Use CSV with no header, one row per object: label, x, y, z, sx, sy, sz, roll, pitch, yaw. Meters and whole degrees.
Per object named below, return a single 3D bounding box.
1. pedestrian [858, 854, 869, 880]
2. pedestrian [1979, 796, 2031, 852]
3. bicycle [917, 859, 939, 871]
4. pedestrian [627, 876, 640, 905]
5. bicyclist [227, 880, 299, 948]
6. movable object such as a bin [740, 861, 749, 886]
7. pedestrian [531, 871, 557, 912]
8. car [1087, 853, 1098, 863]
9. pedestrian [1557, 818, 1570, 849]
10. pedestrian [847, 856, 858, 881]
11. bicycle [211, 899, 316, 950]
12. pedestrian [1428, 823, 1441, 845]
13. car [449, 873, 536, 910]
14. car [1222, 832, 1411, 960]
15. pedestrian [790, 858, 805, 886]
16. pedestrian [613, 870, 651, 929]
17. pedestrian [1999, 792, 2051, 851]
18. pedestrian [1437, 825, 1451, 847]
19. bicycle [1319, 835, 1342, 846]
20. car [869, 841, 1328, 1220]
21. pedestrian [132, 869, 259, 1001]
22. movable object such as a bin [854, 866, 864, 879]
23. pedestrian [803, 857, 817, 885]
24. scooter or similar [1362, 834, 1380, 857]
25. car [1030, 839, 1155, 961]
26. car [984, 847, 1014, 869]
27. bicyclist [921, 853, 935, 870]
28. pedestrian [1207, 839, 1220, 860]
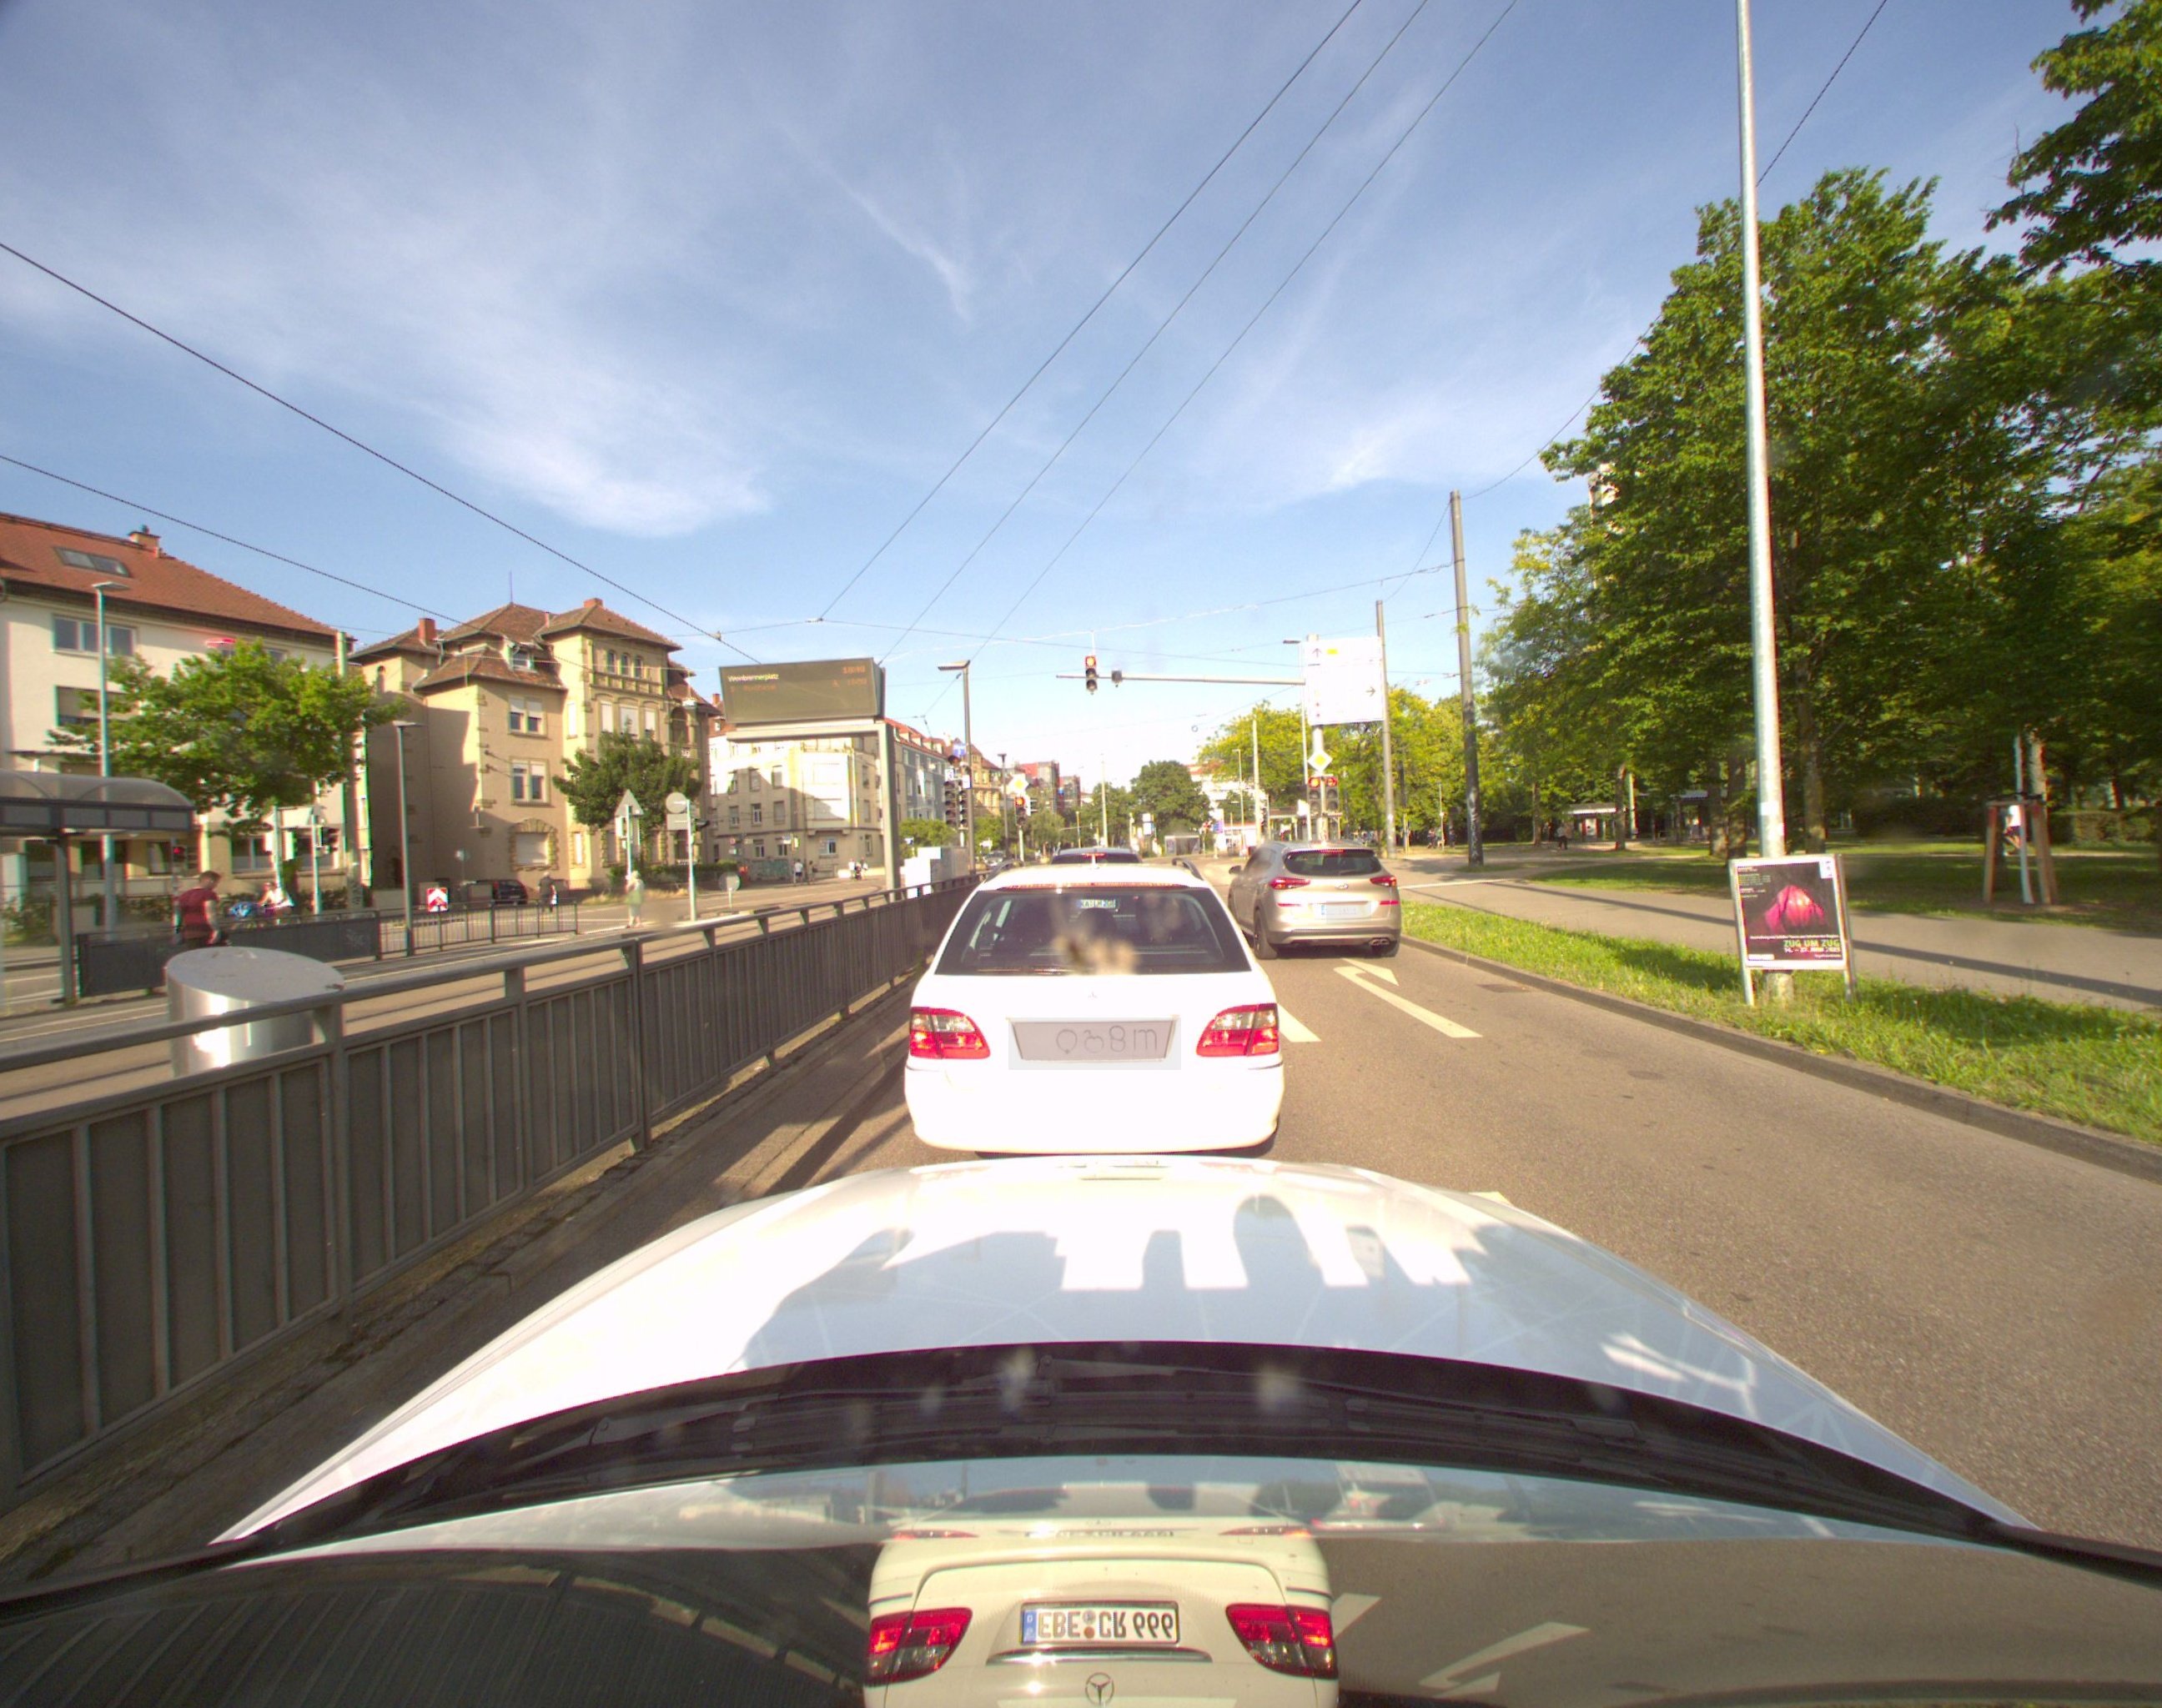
pedestrian,-16.738,1.004,62.640,0.582,1.880,0.627,-3,4,-1
pedestrian,29.799,-0.948,26.274,0.668,1.777,0.881,-1,0,3
bicycle,-14.028,0.972,74.761,0.733,1.006,2.010,-3,0,33
pedestrian,-24.398,1.990,44.415,0.400,1.515,0.392,-3,0,28
bicyclist,-20.540,1.484,20.483,0.702,1.624,1.072,0,1,0
movable object such as a bin,-23.486,1.331,56.783,0.265,1.709,2.360,-3,0,-29
pedestrian,-22.562,1.570,34.216,0.672,1.651,0.608,-3,0,28
car,1.980,0.700,139.441,1.670,1.525,4.128,-3,1,3
pedestrian,28.852,-1.217,48.683,0.598,1.868,0.465,-1,-1,38
pedestrian,-17.514,1.089,62.441,0.582,1.881,0.626,-3,0,-1
bicycle,-20.544,1.748,20.524,0.722,1.110,1.866,0,0,3
pedestrian,27.440,-1.539,63.267,0.638,1.665,0.691,-3,0,1
car,-29.374,1.875,40.622,3.950,1.632,1.787,-3,1,26
car,3.340,0.533,12.305,1.828,1.600,3.817,-1,0,2
pedestrian,-19.866,1.264,57.076,0.653,1.881,0.629,-3,0,16
pedestrian,-12.474,1.253,22.653,0.588,1.589,0.715,-3,0,-2
pedestrian,30.649,-1.037,26.444,0.668,1.897,0.880,-1,0,3
pedestrian,27.665,-1.354,62.087,0.638,1.665,0.691,-3,0,1
bicycle,23.242,-1.229,75.818,2.000,0.947,0.884,-3,0,21
car,0.128,0.708,5.202,1.828,1.501,3.817,-1,0,2
pedestrian,-11.962,1.061,11.035,0.668,1.670,0.883,-3,0,-1
movable object such as a bin,-17.297,1.449,63.395,0.581,0.947,0.663,-3,0,0
pedestrian,-18.895,1.184,56.797,0.672,1.848,0.649,-3,0,-1
scooter or similar,16.113,-0.450,45.236,0.351,1.232,1.131,-3,0,-12
car,0.218,0.606,12.792,1.635,1.600,3.817,-1,0,2
car,-8.254,0.363,82.352,2.136,2.013,5.392,-3,0,3
bicyclist,-14.057,0.690,74.688,0.653,1.569,1.050,-3,0,33
pedestrian,13.521,-0.474,83.236,0.986,2.013,0.833,-3,0,29
